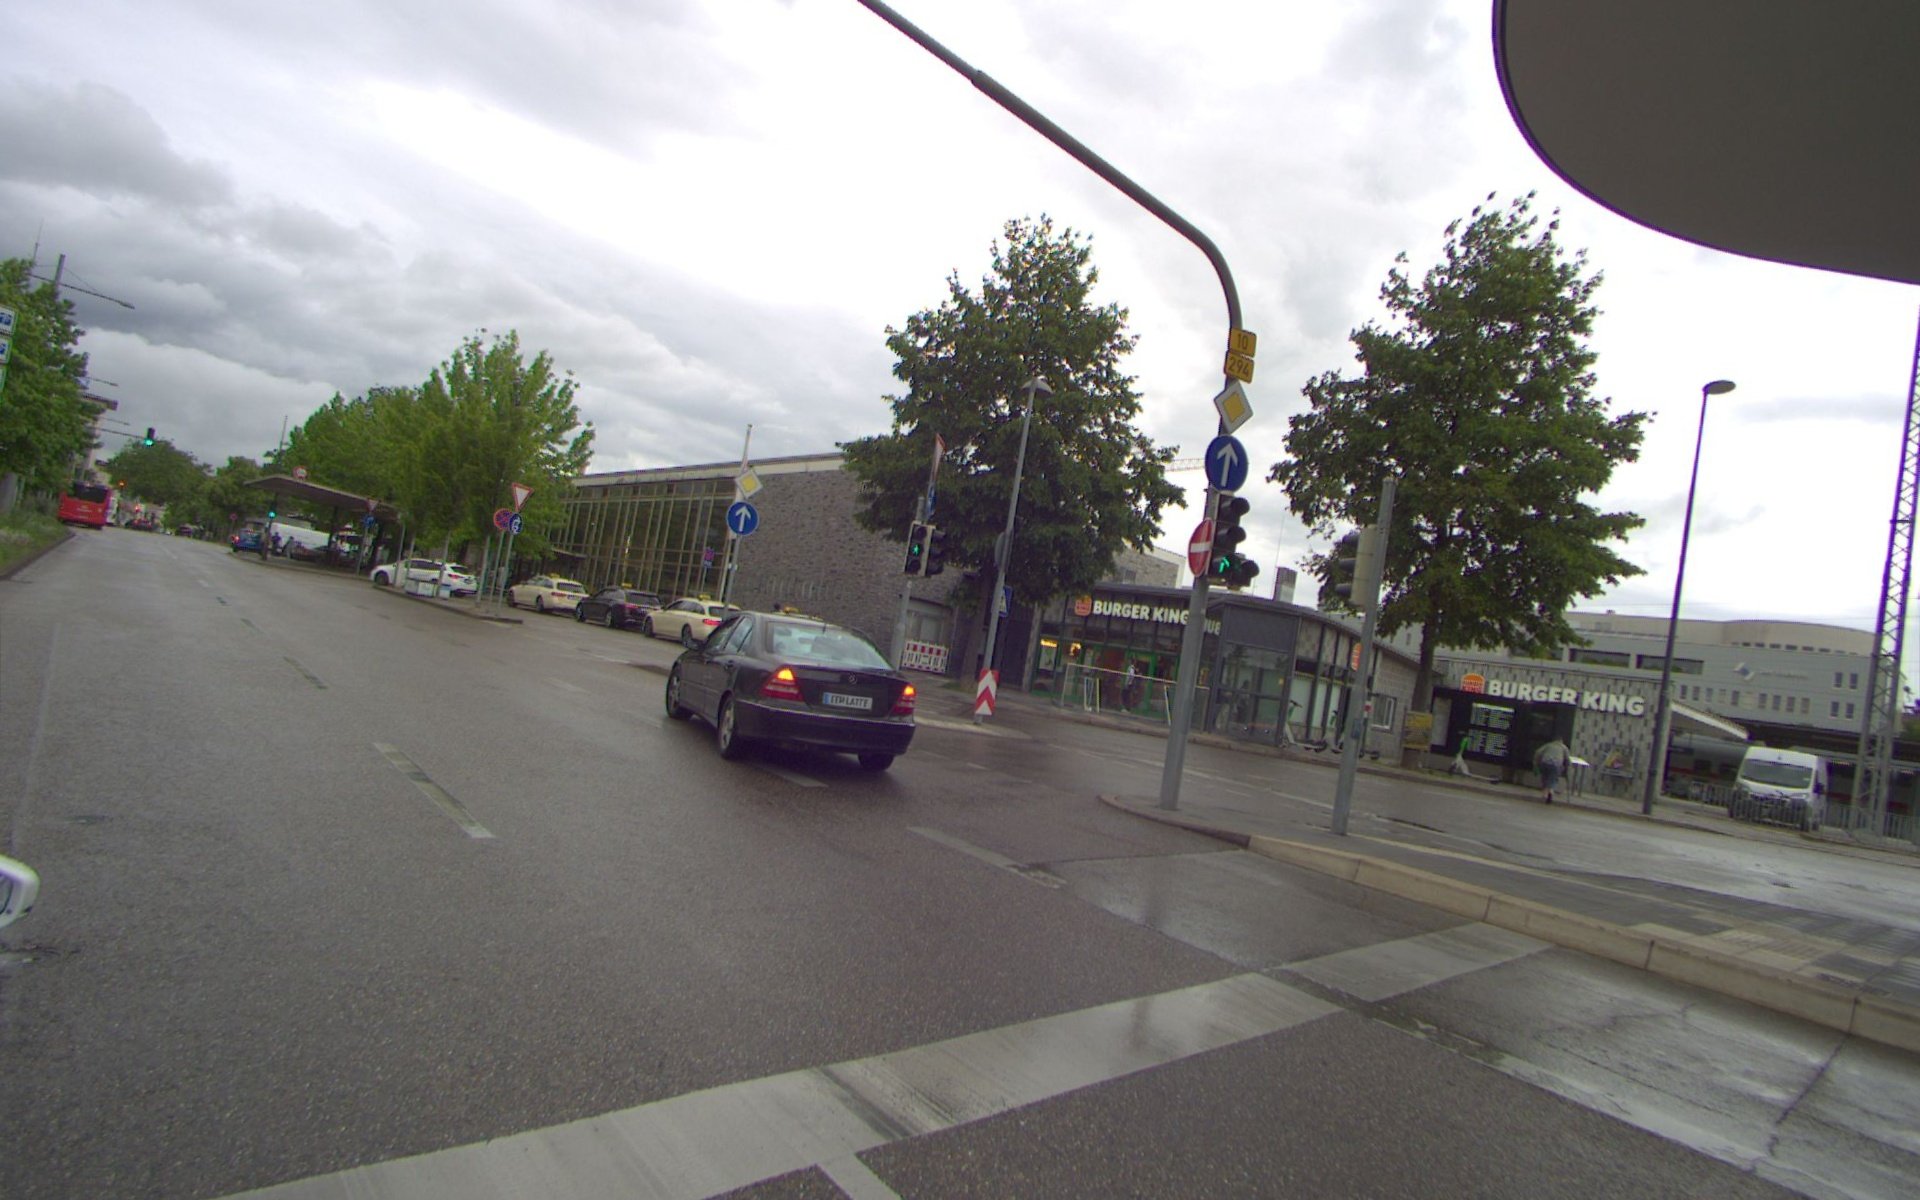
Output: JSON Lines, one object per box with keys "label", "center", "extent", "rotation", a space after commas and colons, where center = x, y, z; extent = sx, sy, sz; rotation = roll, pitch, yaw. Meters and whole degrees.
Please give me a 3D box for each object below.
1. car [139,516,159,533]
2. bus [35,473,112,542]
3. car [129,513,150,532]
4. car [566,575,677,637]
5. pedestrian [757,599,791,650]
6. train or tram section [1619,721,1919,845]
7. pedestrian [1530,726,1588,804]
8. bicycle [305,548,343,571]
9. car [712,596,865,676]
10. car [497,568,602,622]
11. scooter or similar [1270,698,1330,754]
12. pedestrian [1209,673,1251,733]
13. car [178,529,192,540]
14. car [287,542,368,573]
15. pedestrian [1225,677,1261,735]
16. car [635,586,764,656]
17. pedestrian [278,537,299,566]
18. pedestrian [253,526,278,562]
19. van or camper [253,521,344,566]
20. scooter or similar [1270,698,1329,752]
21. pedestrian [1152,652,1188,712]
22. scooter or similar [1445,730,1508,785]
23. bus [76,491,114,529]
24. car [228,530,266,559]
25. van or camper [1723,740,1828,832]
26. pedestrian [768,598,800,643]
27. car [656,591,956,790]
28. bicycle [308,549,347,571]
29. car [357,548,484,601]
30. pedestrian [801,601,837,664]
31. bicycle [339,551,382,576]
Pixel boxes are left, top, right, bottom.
{"label": "car", "center": [-115.828, -10.760, 143.667], "extent": [1.986, 2.037, 3.957], "rotation": [9, -2, -40]}
{"label": "bus", "center": [-63.734, -6.569, 72.431], "extent": [3.534, 4.025, 11.042], "rotation": [9, -2, -41]}
{"label": "car", "center": [-107.082, -10.105, 131.291], "extent": [1.986, 2.037, 3.957], "rotation": [9, -2, -40]}
{"label": "car", "center": [-12.491, 0.179, 36.914], "extent": [1.988, 1.617, 4.901], "rotation": [11, -3, -41]}
{"label": "pedestrian", "center": [-6.493, 0.861, 35.120], "extent": [0.782, 1.645, 0.723], "rotation": [7, -1, 6]}
{"label": "train or tram section", "center": [50.509, 10.433, 50.404], "extent": [4.574, 4.230, 28.985], "rotation": [9, -2, -40]}
{"label": "pedestrian", "center": [13.123, 3.602, 22.074], "extent": [0.825, 1.547, 0.638], "rotation": [7, -1, 20]}
{"label": "bicycle", "center": [-37.487, -2.382, 59.314], "extent": [0.413, 1.068, 1.831], "rotation": [7, -2, 32]}
{"label": "car", "center": [-4.845, 0.941, 27.866], "extent": [1.873, 1.618, 4.850], "rotation": [9, -2, -39]}
{"label": "car", "center": [-16.958, -0.227, 41.443], "extent": [4.890, 1.618, 1.991], "rotation": [7, -2, 42]}
{"label": "scooter or similar", "center": [8.552, 3.161, 25.320], "extent": [1.279, 1.196, 0.334], "rotation": [7, -1, 17]}
{"label": "pedestrian", "center": [8.249, 3.152, 30.756], "extent": [0.715, 1.687, 0.791], "rotation": [8, -1, -30]}
{"label": "car", "center": [-126.724, -10.730, 164.405], "extent": [1.589, 1.578, 3.610], "rotation": [9, -2, -39]}
{"label": "car", "center": [-42.801, -2.878, 68.199], "extent": [1.809, 1.339, 4.198], "rotation": [7, -4, 30]}
{"label": "pedestrian", "center": [8.967, 3.348, 31.884], "extent": [0.709, 1.687, 0.797], "rotation": [7, -1, -2]}
{"label": "car", "center": [-8.421, 0.622, 32.221], "extent": [1.986, 1.618, 4.904], "rotation": [9, -2, -39]}
{"label": "pedestrian", "center": [-46.102, -3.316, 69.056], "extent": [0.853, 1.856, 1.177], "rotation": [9, -2, -40]}
{"label": "pedestrian", "center": [-37.001, -2.968, 53.607], "extent": [0.824, 1.766, 0.746], "rotation": [6, -2, 42]}
{"label": "van or camper", "center": [-55.198, -4.697, 84.113], "extent": [2.159, 2.794, 5.969], "rotation": [7, -2, 23]}
{"label": "scooter or similar", "center": [8.731, 3.207, 25.893], "extent": [1.279, 1.196, 0.334], "rotation": [7, -1, 17]}
{"label": "pedestrian", "center": [6.293, 2.450, 30.167], "extent": [0.764, 1.688, 0.645], "rotation": [6, 0, 28]}
{"label": "scooter or similar", "center": [13.305, 4.047, 25.939], "extent": [1.279, 1.196, 0.334], "rotation": [7, -1, 17]}
{"label": "bus", "center": [-97.995, -10.115, 113.853], "extent": [2.795, 3.792, 10.323], "rotation": [7, -1, -42]}
{"label": "car", "center": [-48.016, -3.707, 67.758], "extent": [1.850, 1.586, 3.962], "rotation": [10, -3, -36]}
{"label": "van or camper", "center": [27.179, 6.091, 33.435], "extent": [2.137, 2.461, 5.837], "rotation": [6, -2, 43]}
{"label": "pedestrian", "center": [-6.680, 0.778, 38.195], "extent": [0.766, 1.598, 0.702], "rotation": [8, -1, -44]}
{"label": "car", "center": [-1.860, 0.798, 10.621], "extent": [1.681, 1.482, 4.423], "rotation": [8, -2, -27]}
{"label": "bicycle", "center": [-37.123, -2.341, 59.045], "extent": [0.413, 1.068, 1.831], "rotation": [7, -2, 32]}
{"label": "car", "center": [-23.706, -1.129, 44.224], "extent": [4.686, 1.563, 1.767], "rotation": [8, -2, 11]}
{"label": "pedestrian", "center": [-5.206, 1.203, 37.214], "extent": [0.711, 2.189, 0.795], "rotation": [7, -1, 36]}
{"label": "bicycle", "center": [-31.480, -1.906, 52.831], "extent": [1.821, 1.068, 0.416], "rotation": [9, -2, -41]}
